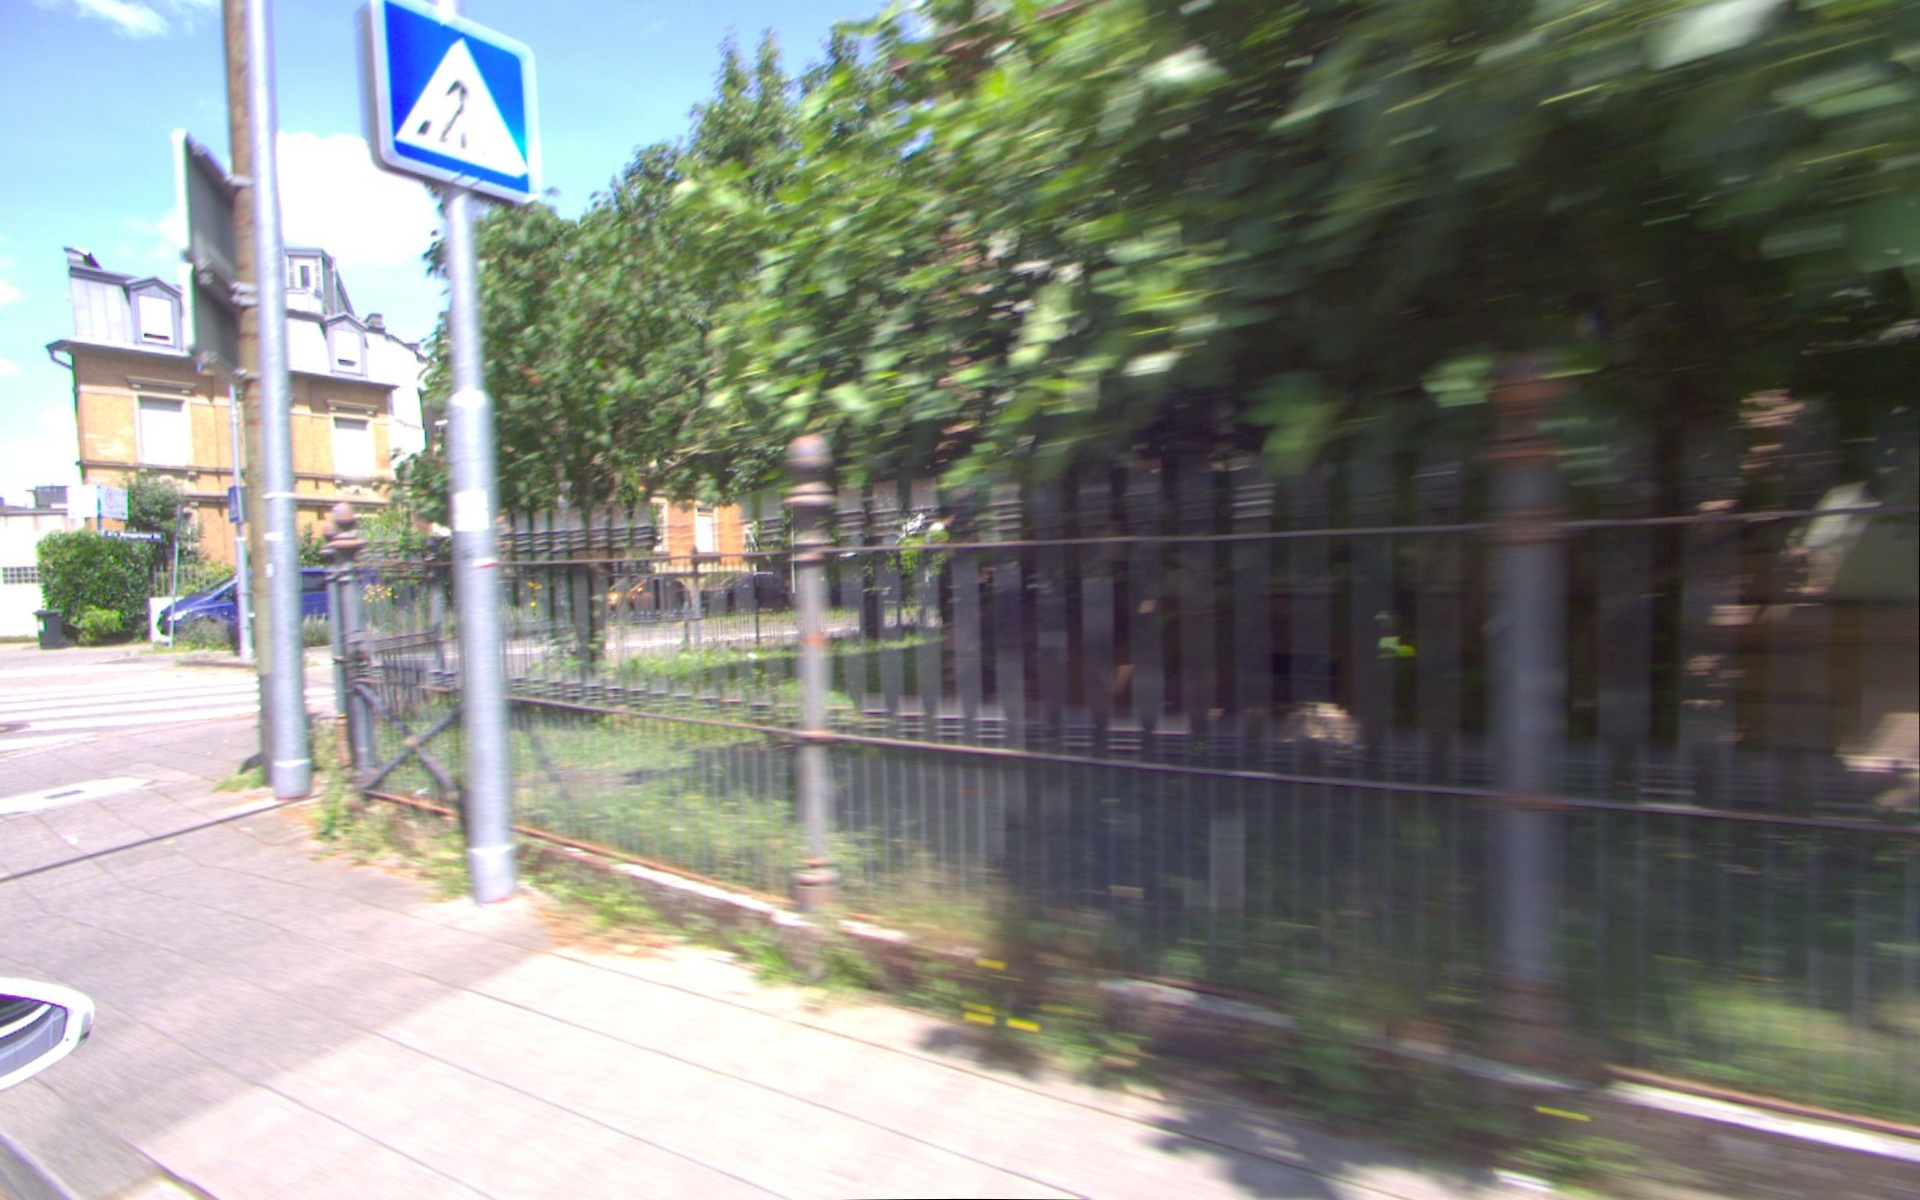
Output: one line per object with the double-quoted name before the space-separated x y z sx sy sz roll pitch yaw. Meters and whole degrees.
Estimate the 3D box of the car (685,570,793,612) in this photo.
"car" -9.001 -0.340 41.040 1.835 1.611 4.219 -2 -1 33

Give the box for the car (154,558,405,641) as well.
"car" -18.126 -0.111 26.912 2.058 1.975 5.197 2 3 41

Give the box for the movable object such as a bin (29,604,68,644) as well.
"movable object such as a bin" -21.815 0.581 23.964 0.549 0.928 0.420 -1 0 8

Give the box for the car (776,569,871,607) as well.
"car" -6.148 -0.518 45.560 1.835 1.611 4.434 -2 -1 33

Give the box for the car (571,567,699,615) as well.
"car" -11.859 -0.285 36.778 1.835 1.611 4.219 -2 -1 33
